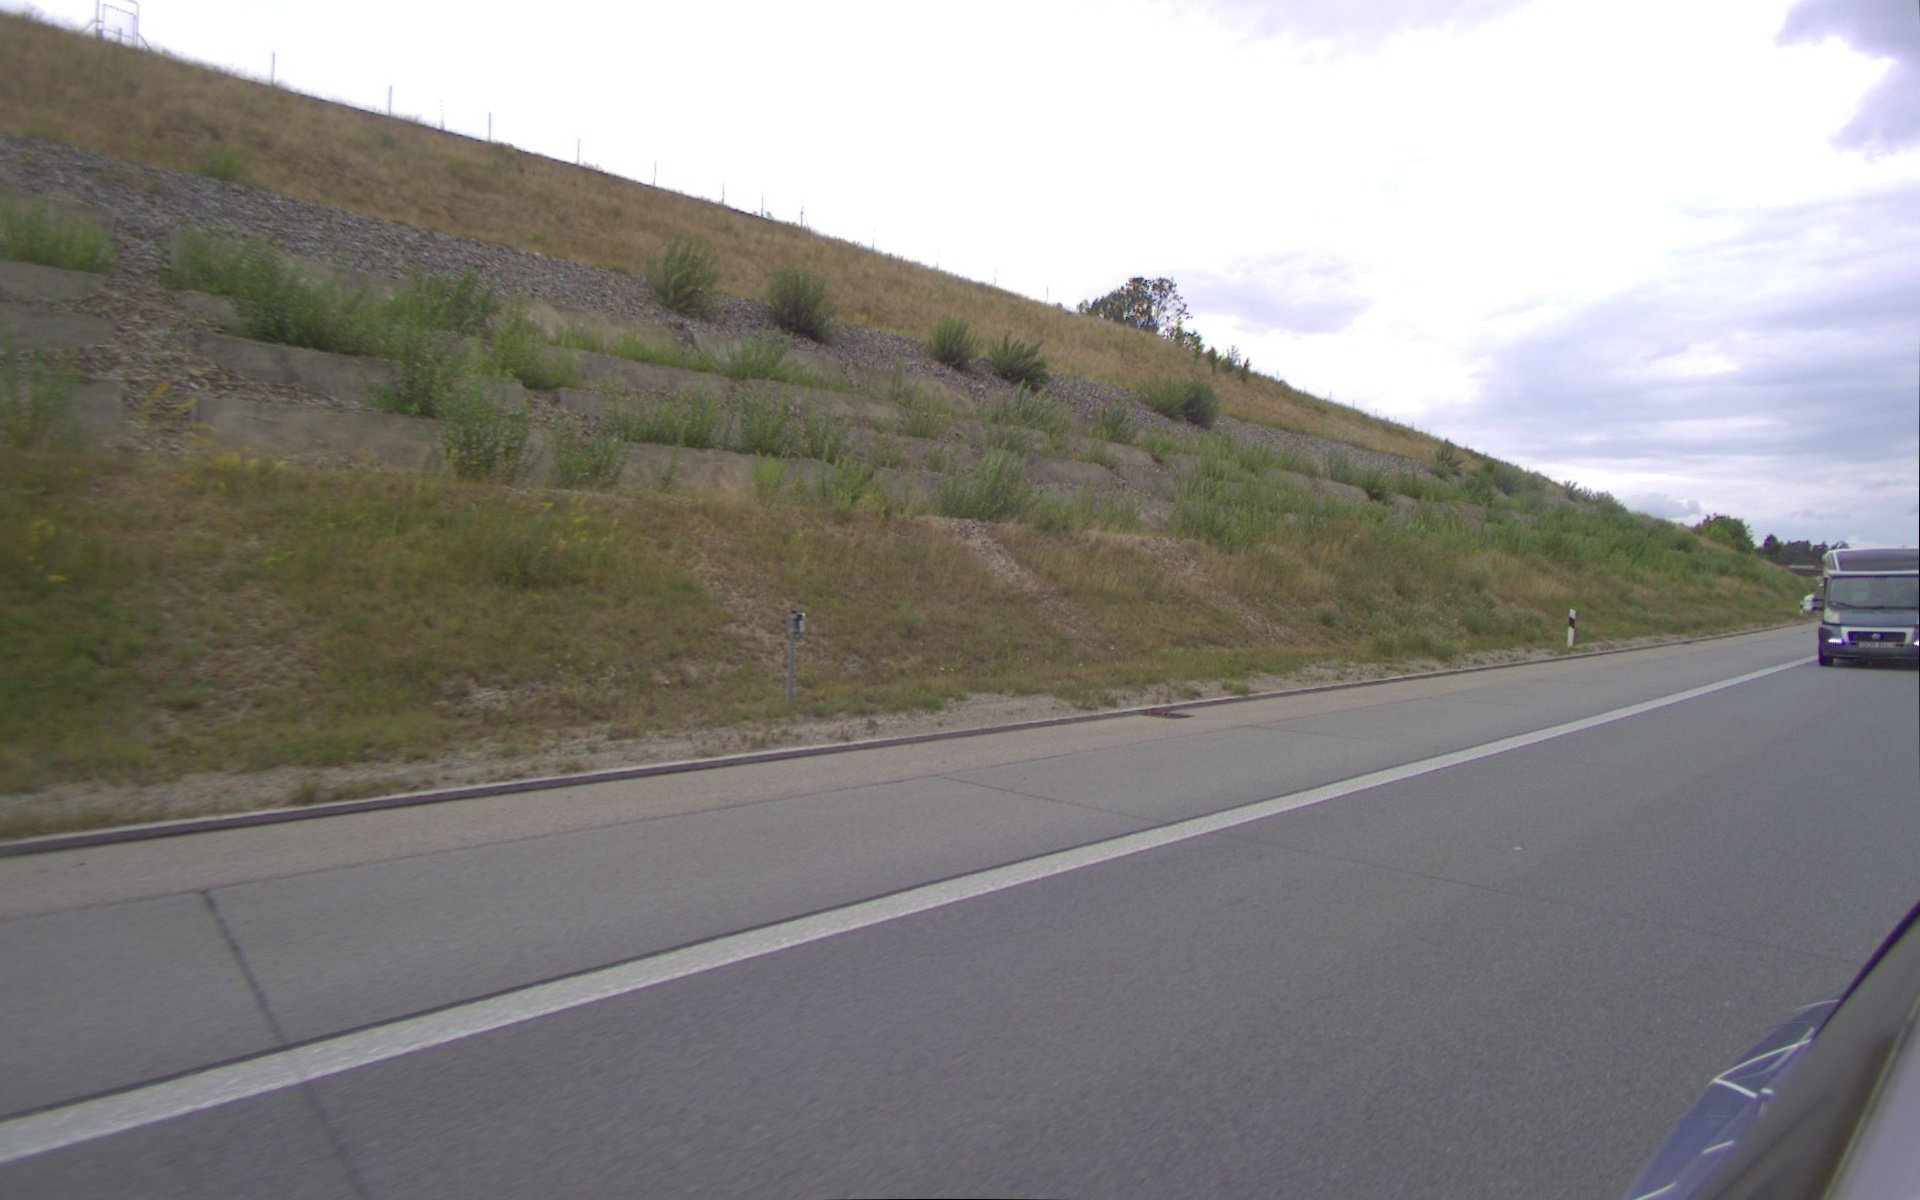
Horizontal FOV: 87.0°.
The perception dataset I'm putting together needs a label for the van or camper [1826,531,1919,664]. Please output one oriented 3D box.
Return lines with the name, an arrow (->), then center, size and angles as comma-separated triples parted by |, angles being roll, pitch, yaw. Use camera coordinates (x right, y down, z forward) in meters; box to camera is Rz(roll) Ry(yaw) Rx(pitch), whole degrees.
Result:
van or camper -> 22.121, -0.088, 23.701 | 6.786, 2.771, 2.100 | -1, 1, -43
